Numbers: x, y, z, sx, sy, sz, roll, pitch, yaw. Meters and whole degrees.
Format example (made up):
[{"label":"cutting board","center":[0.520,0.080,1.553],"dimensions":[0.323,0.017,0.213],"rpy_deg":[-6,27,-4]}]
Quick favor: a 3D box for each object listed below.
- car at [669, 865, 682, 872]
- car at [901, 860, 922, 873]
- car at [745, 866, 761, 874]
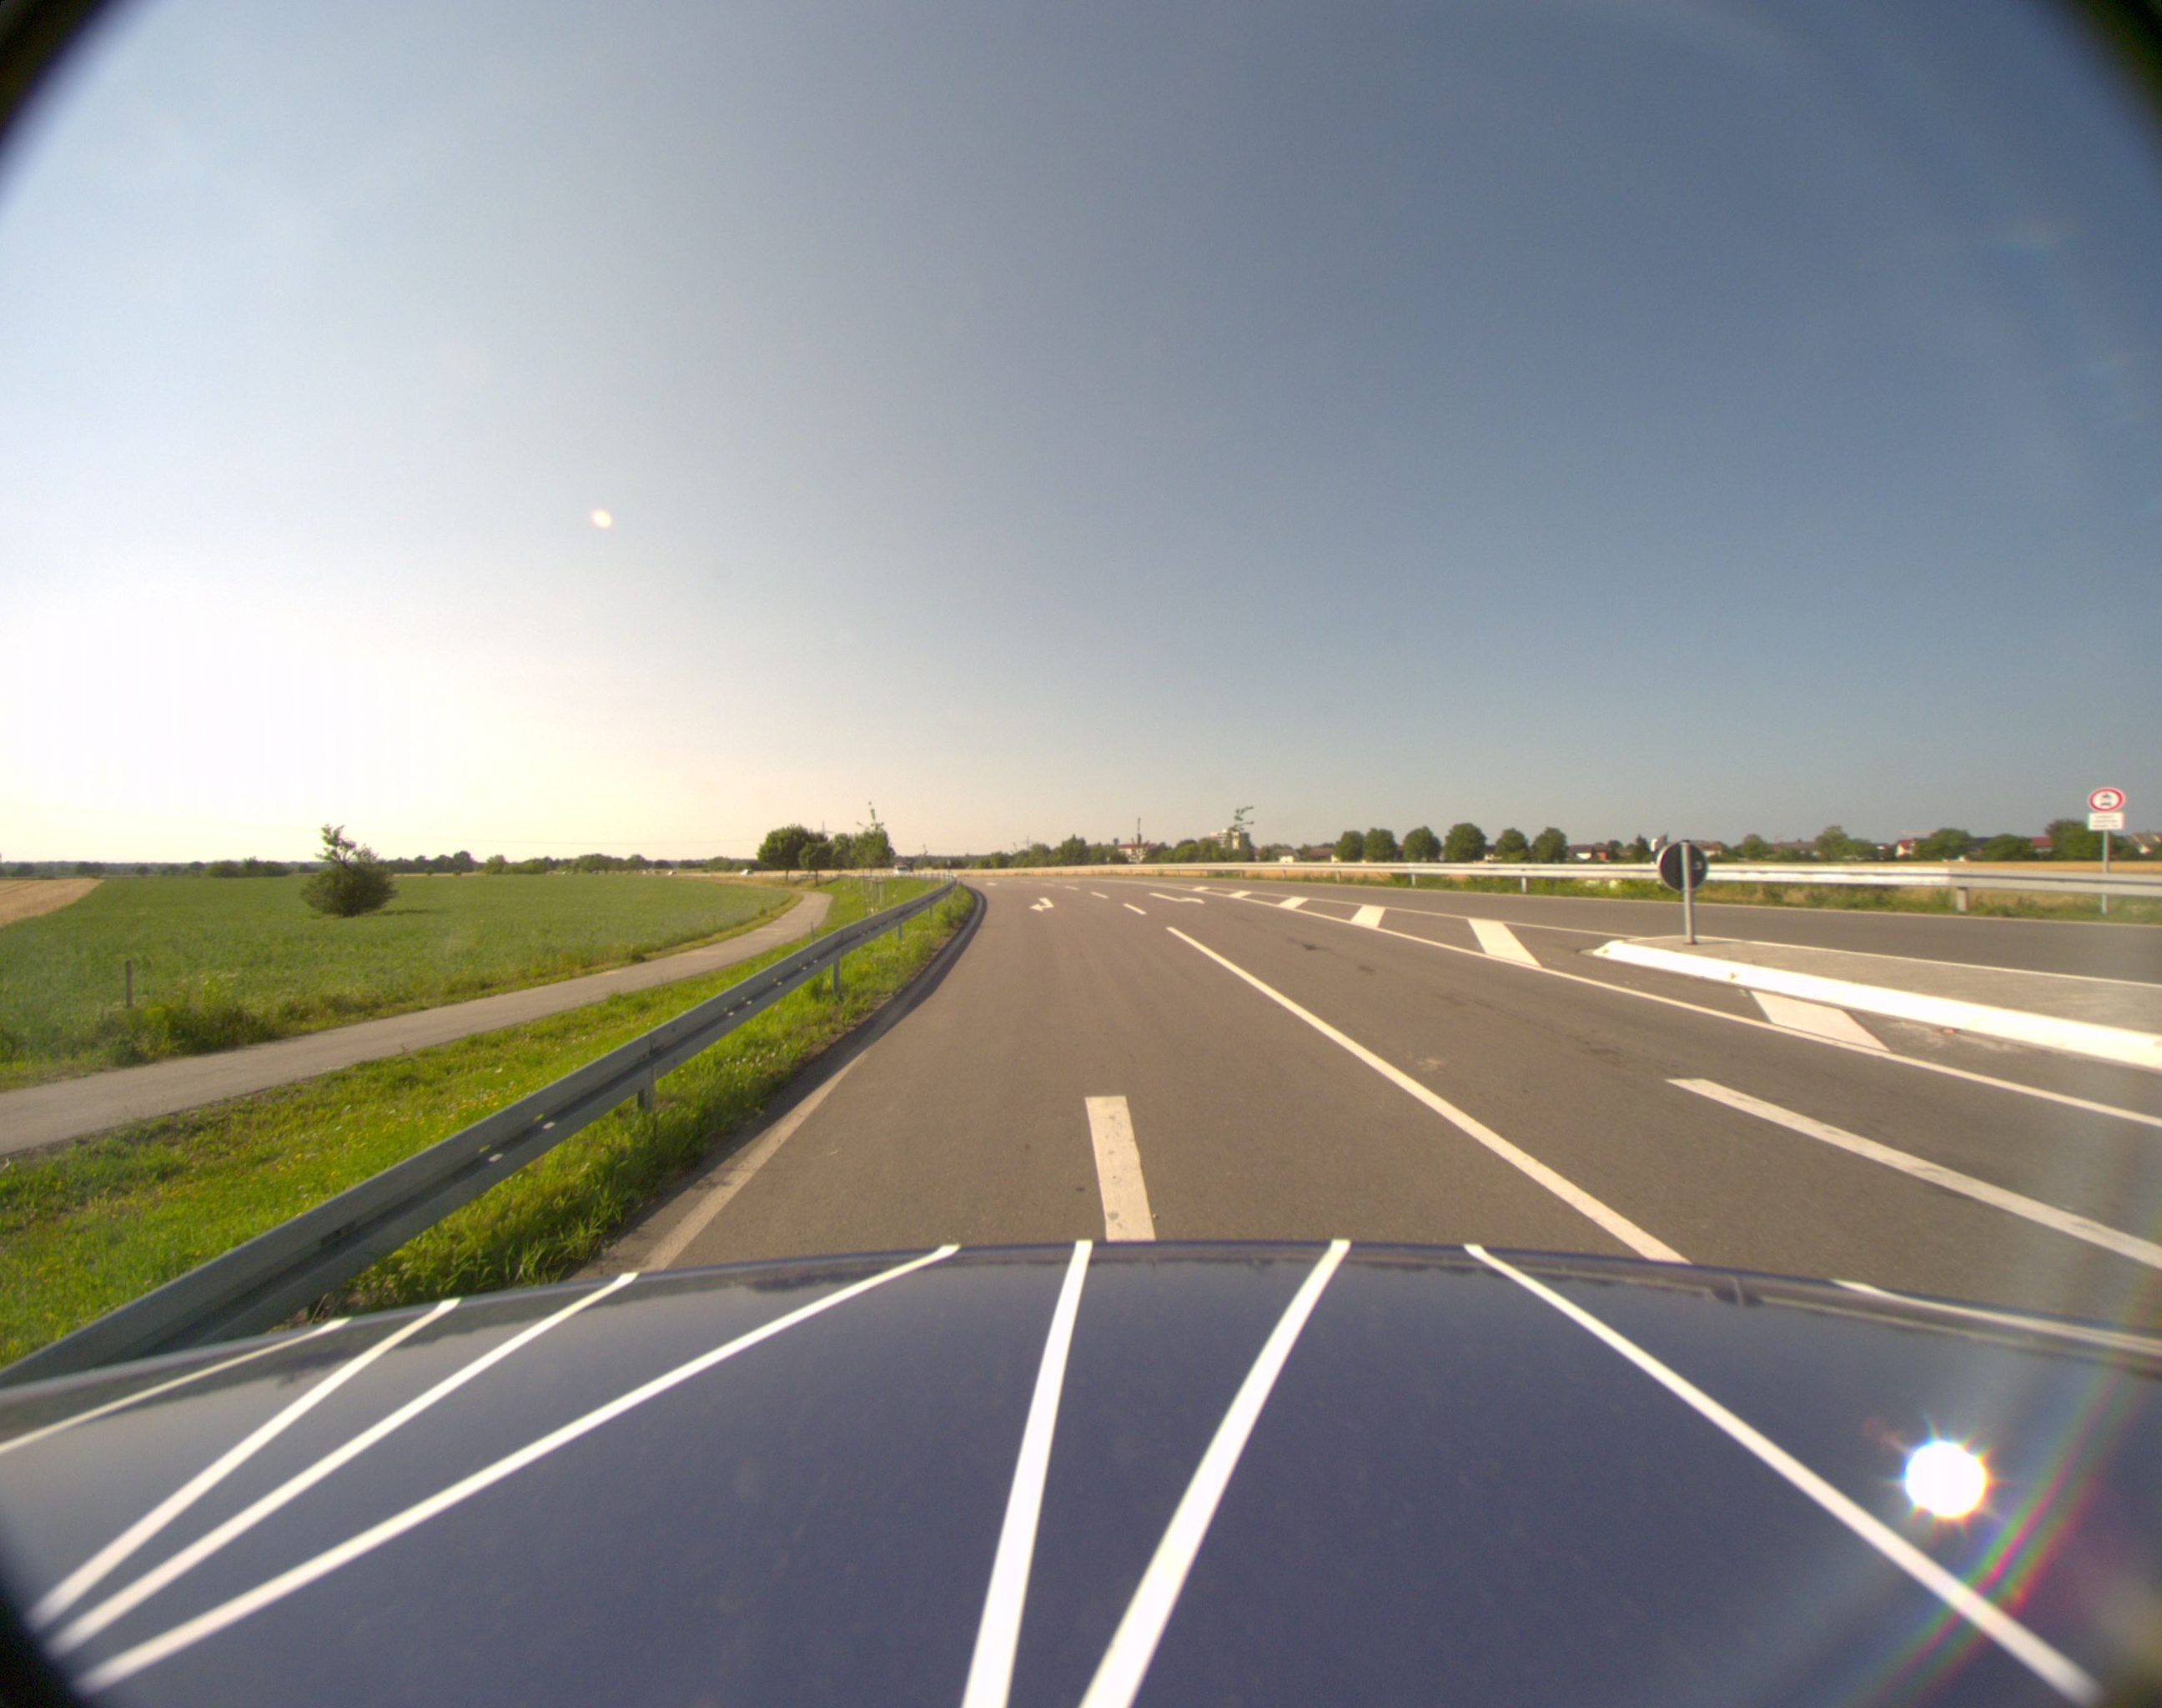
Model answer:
[{"label":"car","center":[-115.891,4.125,217.049],"dimensions":[2.004,2.002,3.989],"rpy_deg":[-3,1,-44]},{"label":"car","center":[-23.777,1.750,106.764],"dimensions":[1.817,1.663,3.991],"rpy_deg":[-3,1,-28]},{"label":"car","center":[-73.289,3.566,169.715],"dimensions":[2.004,1.746,3.989],"rpy_deg":[-1,-1,-42]}]
